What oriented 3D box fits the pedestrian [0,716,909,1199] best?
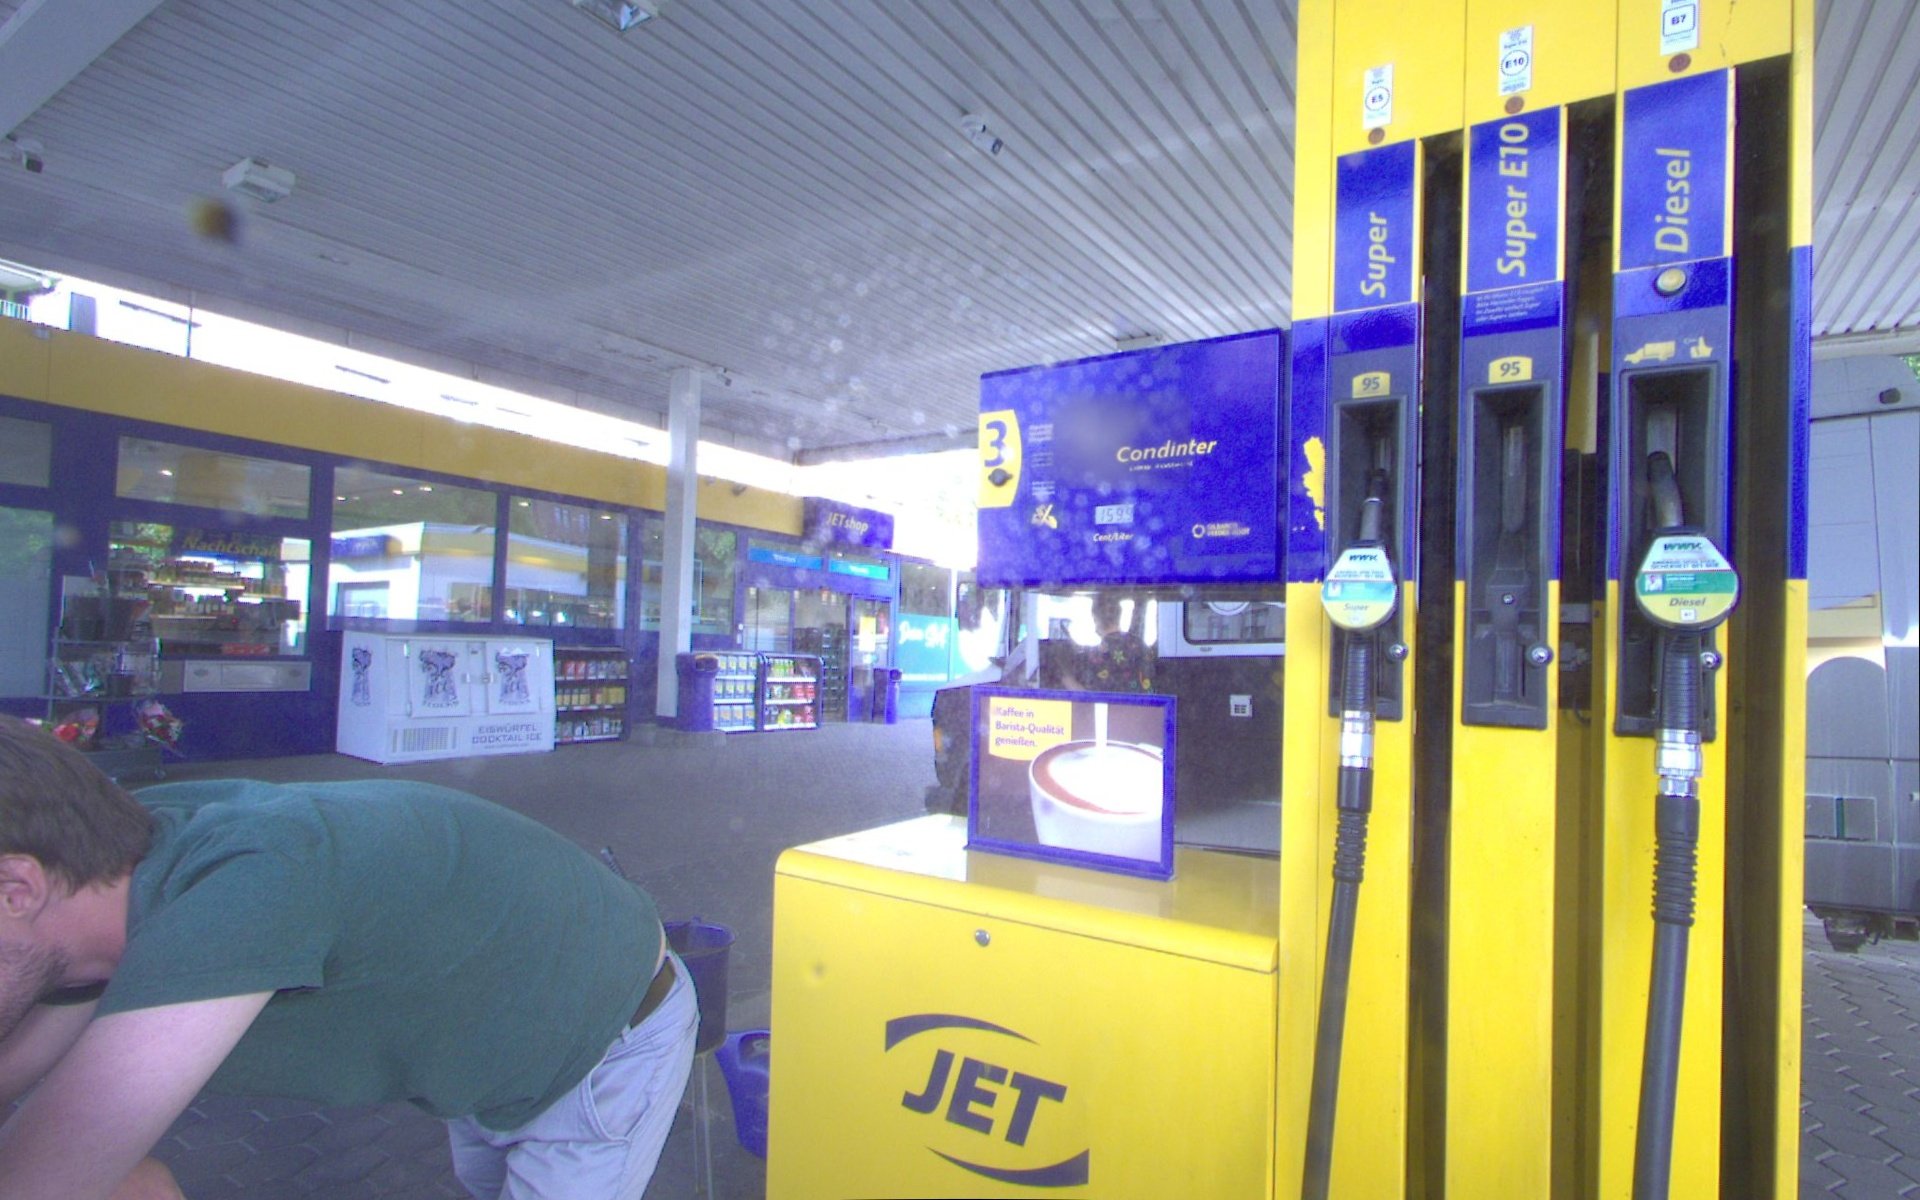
[{"bbox_3d":[-0.535,0.813,1.071,0.664,1.298,0.749,-1,-1,31],"label":"pedestrian"}]

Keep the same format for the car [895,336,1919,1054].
[{"bbox_3d":[2.388,0.419,6.017,5.219,2.724,2.250,0,-3,34],"label":"car"}]

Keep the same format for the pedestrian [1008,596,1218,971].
[{"bbox_3d":[0.754,0.891,5.280,0.961,1.785,0.981,0,-1,1],"label":"pedestrian"}]
